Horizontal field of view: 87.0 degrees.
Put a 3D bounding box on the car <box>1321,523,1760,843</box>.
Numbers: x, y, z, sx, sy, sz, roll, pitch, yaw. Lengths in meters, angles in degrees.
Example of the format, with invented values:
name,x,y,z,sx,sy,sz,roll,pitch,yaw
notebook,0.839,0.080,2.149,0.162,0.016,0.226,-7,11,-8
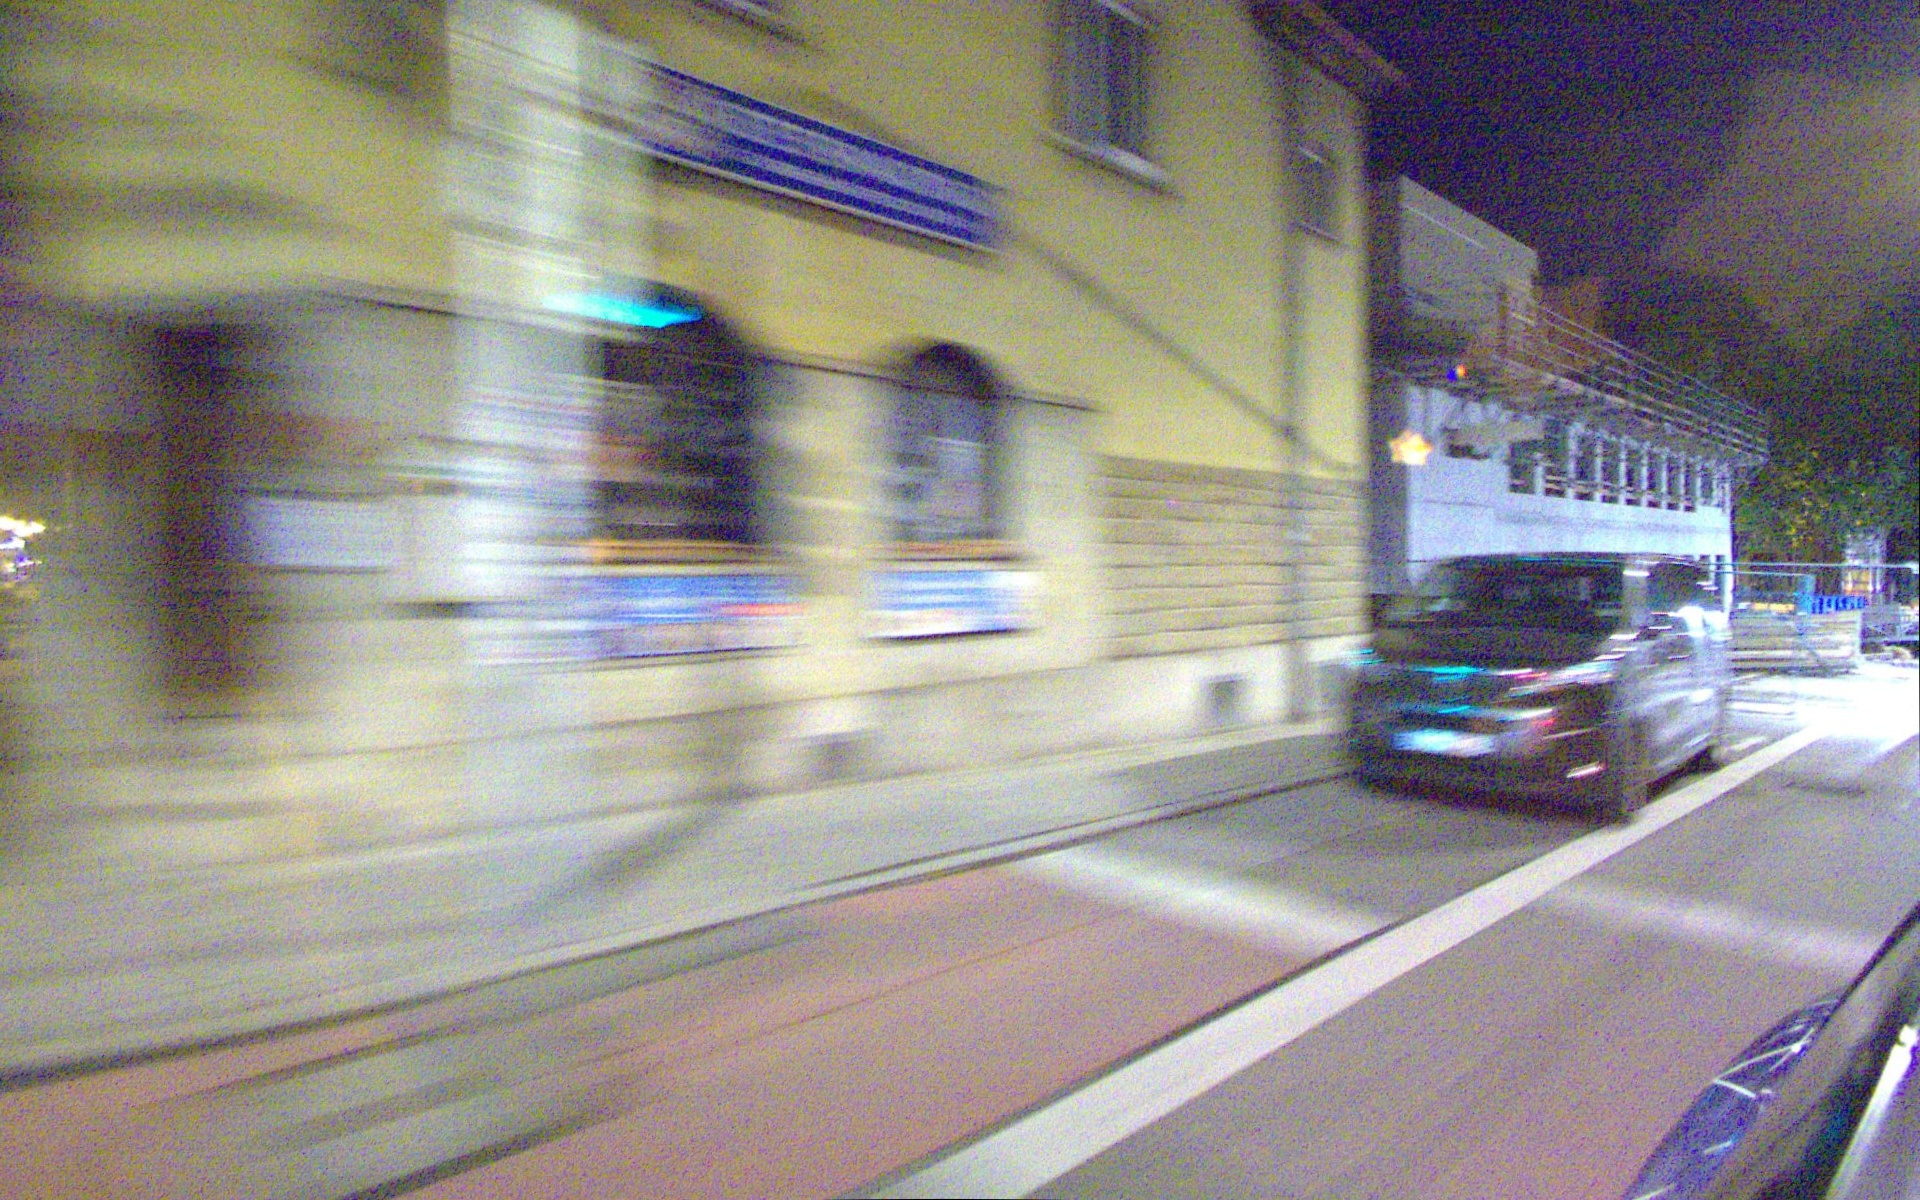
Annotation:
name,x,y,z,sx,sy,sz,roll,pitch,yaw
car,4.946,0.458,8.235,4.821,1.850,1.912,0,1,-45

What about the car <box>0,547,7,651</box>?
name,x,y,z,sx,sy,sz,roll,pitch,yaw
car,-24.821,-0.018,24.470,2.278,2.627,6.330,0,0,-41
